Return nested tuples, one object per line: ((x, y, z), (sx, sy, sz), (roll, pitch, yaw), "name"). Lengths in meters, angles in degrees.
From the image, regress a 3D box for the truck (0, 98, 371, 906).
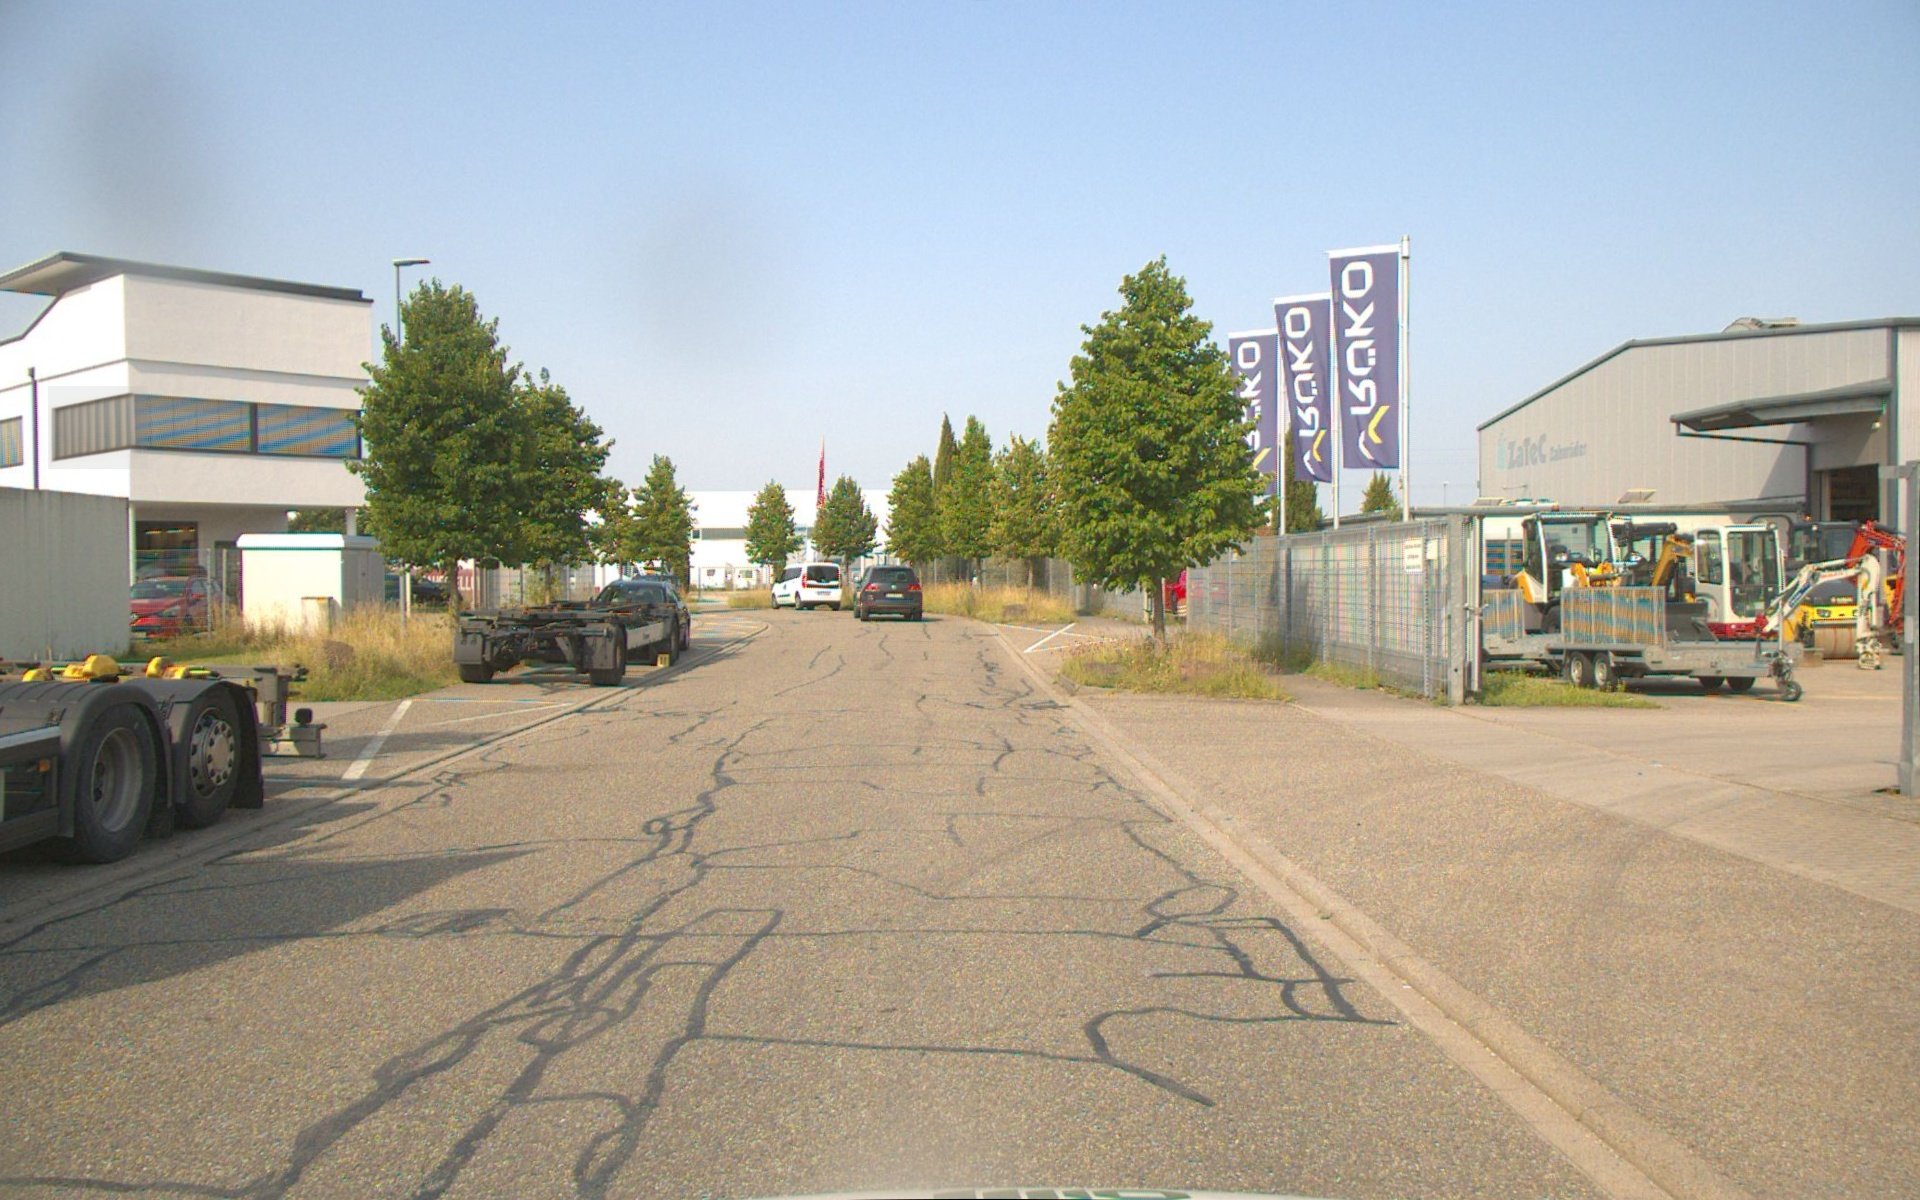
((-5.899, -0.488, 8.227), (2.405, 3.949, 9.802), (1, 0, 0), "truck")

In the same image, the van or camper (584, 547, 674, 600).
((-19.454, -1.539, 96.999), (2.315, 2.995, 6.873), (-1, 1, -39), "van or camper")

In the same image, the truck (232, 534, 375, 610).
((-37.113, -1.514, 93.095), (12.701, 3.997, 2.616), (0, 0, 45), "truck")

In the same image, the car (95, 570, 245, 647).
((-17.874, 0.147, 37.622), (1.736, 1.551, 4.299), (-1, 2, -7), "car")

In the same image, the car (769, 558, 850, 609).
((-6.081, -0.677, 66.414), (1.967, 1.932, 4.435), (-1, 1, -23), "car")

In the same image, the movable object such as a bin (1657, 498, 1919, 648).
((15.671, -0.514, 31.055), (2.863, 2.535, 5.338), (-1, 1, -1), "movable object such as a bin")

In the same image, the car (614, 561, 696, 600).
((-14.908, -0.970, 80.738), (3.929, 1.836, 1.988), (2, 1, 42), "car")

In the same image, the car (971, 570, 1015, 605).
((1.637, -0.659, 83.505), (1.689, 1.672, 3.994), (1, 1, -7), "car")

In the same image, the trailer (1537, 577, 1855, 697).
((9.051, 0.412, 20.838), (1.953, 1.333, 4.563), (0, 0, 0), "trailer")

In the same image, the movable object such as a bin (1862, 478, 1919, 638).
((19.516, -0.814, 31.707), (1.952, 3.084, 4.492), (-1, 1, -1), "movable object such as a bin")

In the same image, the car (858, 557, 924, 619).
((-2.112, -0.402, 51.643), (1.953, 1.836, 3.999), (1, 1, -1), "car")

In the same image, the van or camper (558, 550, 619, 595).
((-26.401, -2.005, 117.853), (2.742, 3.137, 7.968), (0, 1, -2), "van or camper")

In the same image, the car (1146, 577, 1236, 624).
((7.306, -0.020, 52.809), (1.844, 1.381, 4.769), (-1, 1, -5), "car")

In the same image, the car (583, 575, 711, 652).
((-6.683, 0.243, 35.768), (1.953, 1.492, 4.432), (1, 1, -1), "car")

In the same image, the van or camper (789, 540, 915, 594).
((-6.313, -1.912, 96.047), (7.122, 3.085, 2.581), (-1, 0, -8), "van or camper")

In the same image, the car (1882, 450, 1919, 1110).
((3.518, 0.477, 2.466), (1.789, 1.750, 4.247), (0, 0, -2), "car")

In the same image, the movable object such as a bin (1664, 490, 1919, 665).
((13.099, -0.371, 26.253), (1.951, 2.501, 4.766), (-1, 1, 2), "movable object such as a bin")

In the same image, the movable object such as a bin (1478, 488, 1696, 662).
((10.980, -0.446, 29.411), (1.848, 2.800, 5.159), (-1, 1, -1), "movable object such as a bin")

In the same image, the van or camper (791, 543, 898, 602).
((-5.969, -1.372, 84.598), (2.327, 2.897, 7.260), (-1, 1, -32), "van or camper")

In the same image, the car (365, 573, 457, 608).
((-23.694, -0.395, 71.444), (1.567, 1.479, 3.485), (0, 0, 40), "car")

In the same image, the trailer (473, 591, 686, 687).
((-6.232, 0.558, 28.097), (2.087, 1.254, 7.156), (1, 1, -1), "trailer")

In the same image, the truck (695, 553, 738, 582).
((-19.654, -2.628, 134.055), (2.400, 2.304, 8.001), (0, 1, -1), "truck")

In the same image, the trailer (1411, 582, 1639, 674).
((8.641, 0.375, 25.712), (1.905, 1.265, 4.292), (-1, 1, -3), "trailer")

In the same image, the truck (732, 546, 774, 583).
((-16.730, -2.868, 134.090), (2.400, 2.875, 8.001), (0, 1, -1), "truck")
